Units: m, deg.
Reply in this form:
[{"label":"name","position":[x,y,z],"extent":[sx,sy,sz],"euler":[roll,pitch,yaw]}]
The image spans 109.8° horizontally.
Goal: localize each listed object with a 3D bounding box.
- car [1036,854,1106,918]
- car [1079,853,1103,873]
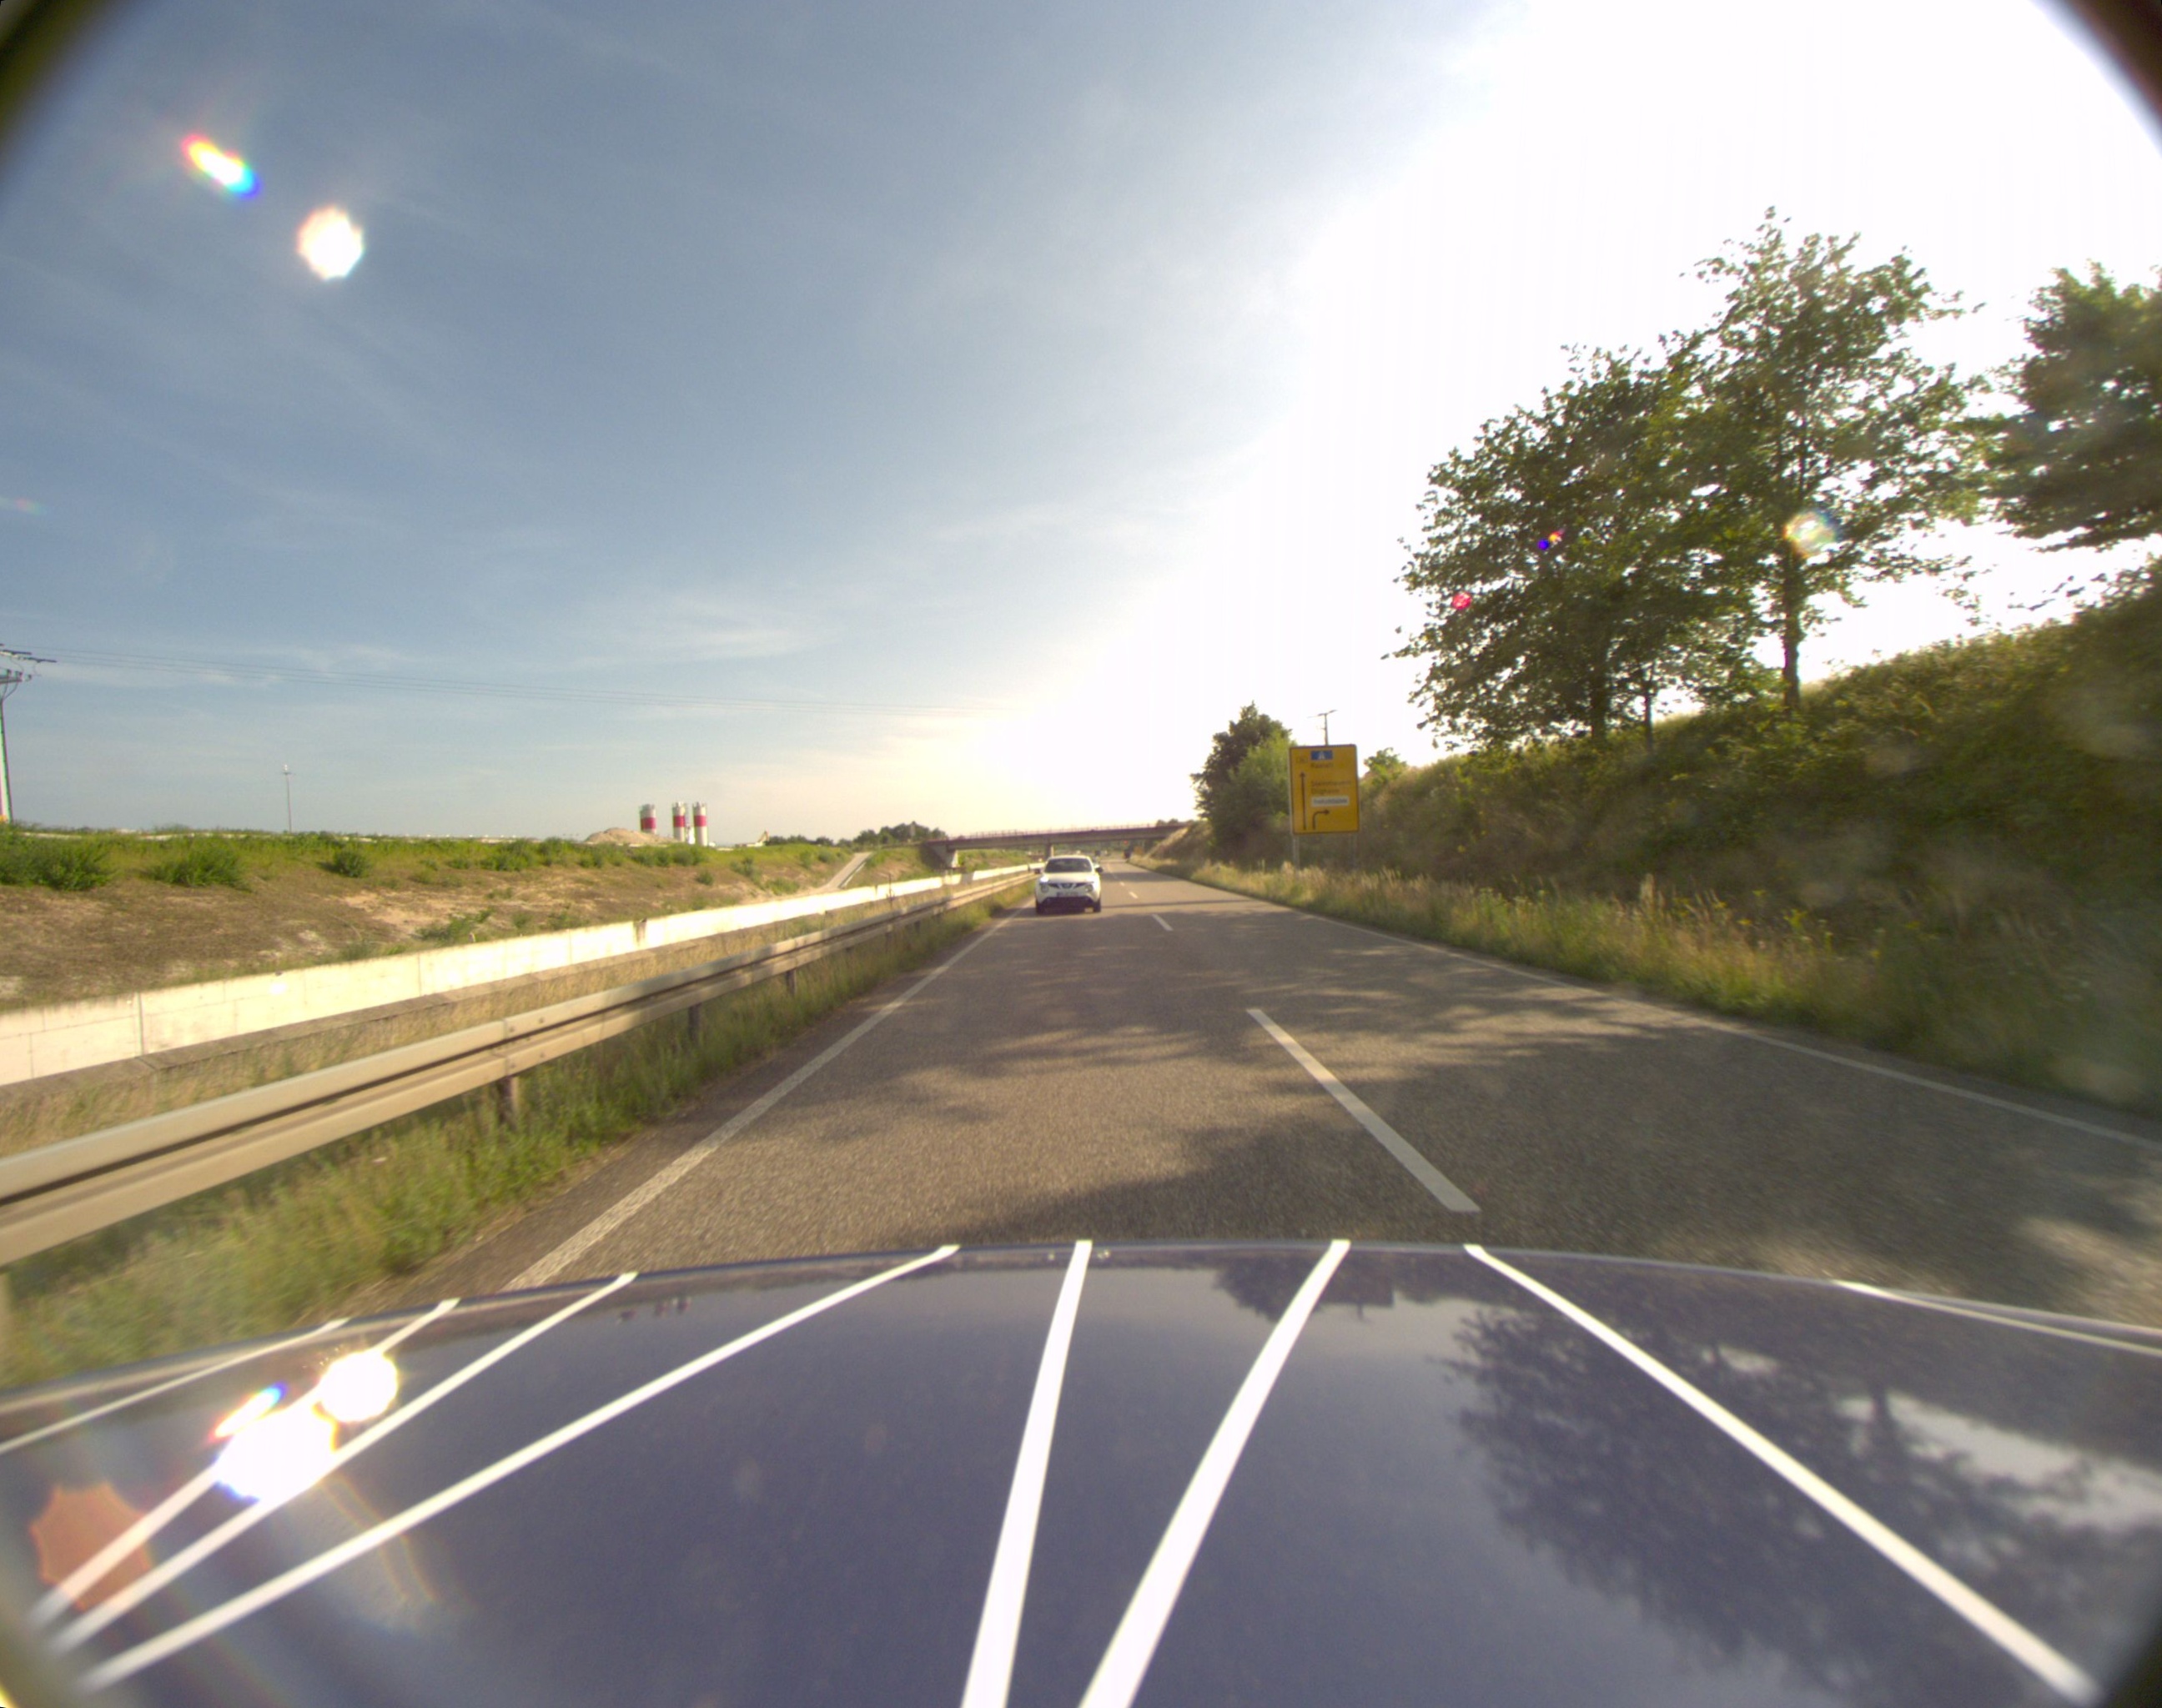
[{"label":"car","position":[-0.294,0.834,22.159],"extent":[1.789,1.593,4.571],"euler":[-2,1,-1]},{"label":"car","position":[0.854,0.749,64.744],"extent":[1.908,1.512,4.465],"euler":[-2,0,2]}]
